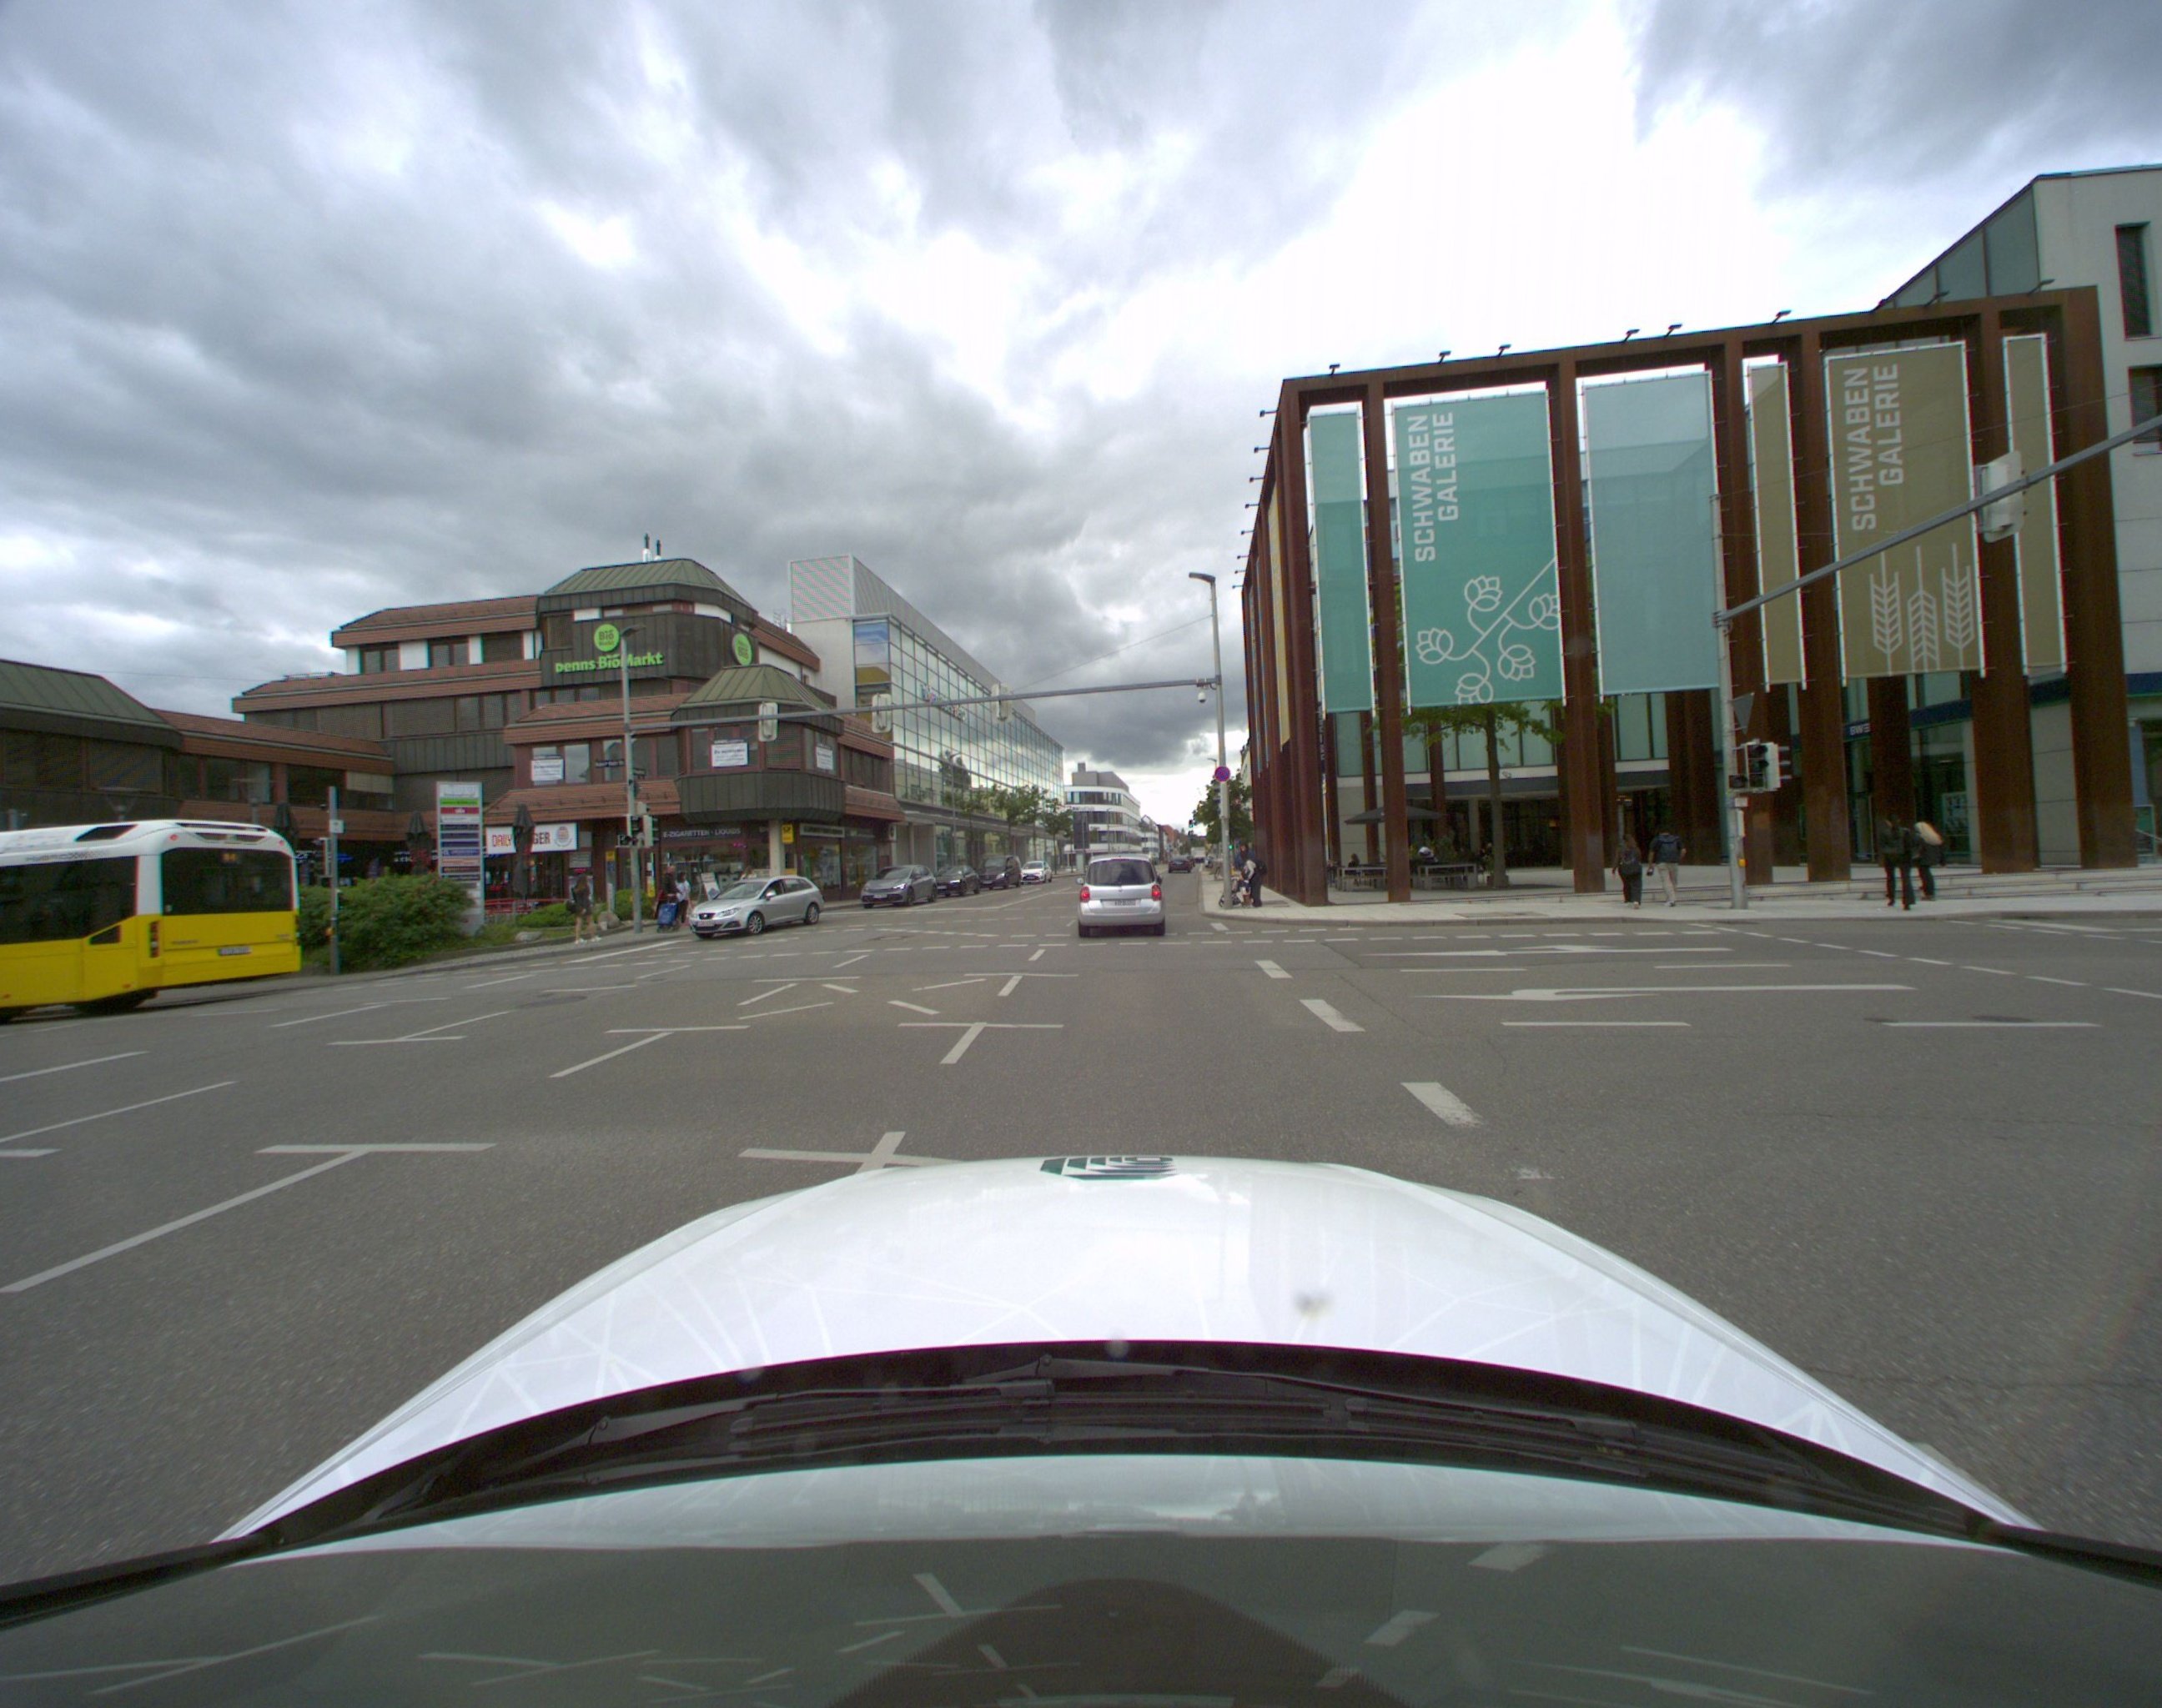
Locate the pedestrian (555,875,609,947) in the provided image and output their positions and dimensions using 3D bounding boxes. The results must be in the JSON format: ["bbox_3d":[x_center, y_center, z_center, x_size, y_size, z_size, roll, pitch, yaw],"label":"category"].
[{"bbox_3d":[-12.469,1.412,20.362,0.693,1.713,0.818,-2,2,30],"label":"pedestrian"}]

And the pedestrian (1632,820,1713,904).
[{"bbox_3d":[12.409,0.166,17.118,0.874,1.681,1.122,-3,-1,5],"label":"pedestrian"}]

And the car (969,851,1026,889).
[{"bbox_3d":[-4.623,0.870,46.077,1.854,1.909,5.126,-4,0,9],"label":"car"}]

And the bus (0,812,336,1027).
[{"bbox_3d":[-21.349,1.505,15.041,12.224,3.327,2.997,-5,-1,0],"label":"bus"}]

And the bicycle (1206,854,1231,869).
[{"bbox_3d":[10.591,0.562,62.750,1.815,1.074,0.754,-4,-1,6],"label":"bicycle"}]

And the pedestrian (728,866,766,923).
[{"bbox_3d":[-10.292,1.231,25.143,0.745,1.693,0.778,-3,0,3],"label":"pedestrian"}]

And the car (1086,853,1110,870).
[{"bbox_3d":[1.675,0.744,78.633,1.650,1.480,4.010,-4,0,9],"label":"car"}]

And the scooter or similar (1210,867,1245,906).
[{"bbox_3d":[3.819,0.847,21.212,0.627,0.961,0.624,-3,-1,42],"label":"scooter or similar"}]

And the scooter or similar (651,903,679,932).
[{"bbox_3d":[-11.290,1.732,22.109,0.452,0.727,0.538,-2,0,0],"label":"scooter or similar"}]

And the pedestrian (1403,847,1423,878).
[{"bbox_3d":[13.375,0.347,32.834,0.512,1.208,0.797,-3,1,6],"label":"pedestrian"}]

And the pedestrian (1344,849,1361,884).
[{"bbox_3d":[9.652,0.441,28.985,0.444,1.220,0.608,-2,-1,12],"label":"pedestrian"}]

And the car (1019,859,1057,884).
[{"bbox_3d":[-2.842,1.153,54.195,1.650,1.465,4.010,-4,0,8],"label":"car"}]

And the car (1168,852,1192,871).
[{"bbox_3d":[8.029,0.584,66.044,1.659,1.554,3.653,-1,0,11],"label":"car"}]

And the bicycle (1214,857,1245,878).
[{"bbox_3d":[7.823,0.700,42.932,1.550,0.992,0.755,-3,0,11],"label":"bicycle"}]

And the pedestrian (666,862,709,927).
[{"bbox_3d":[-11.393,1.159,23.616,0.807,1.808,0.775,-2,0,0],"label":"pedestrian"}]

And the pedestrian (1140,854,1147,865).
[{"bbox_3d":[10.815,0.955,140.973,0.955,1.833,1.253,-3,-1,8],"label":"pedestrian"}]

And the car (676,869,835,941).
[{"bbox_3d":[-8.500,1.281,21.711,1.622,1.418,4.217,-4,1,15],"label":"car"}]

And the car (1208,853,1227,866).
[{"bbox_3d":[14.527,0.562,86.793,1.866,1.335,4.010,-1,0,9],"label":"car"}]

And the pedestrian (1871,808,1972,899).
[{"bbox_3d":[17.306,-0.005,16.799,0.874,1.767,1.122,-3,-1,5],"label":"pedestrian"}]

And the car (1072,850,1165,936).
[{"bbox_3d":[0.867,0.703,16.630,1.661,1.554,3.648,-1,0,6],"label":"car"}]

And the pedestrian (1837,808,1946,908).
[{"bbox_3d":[15.187,0.071,15.296,0.874,1.767,1.122,-3,-1,5],"label":"pedestrian"}]

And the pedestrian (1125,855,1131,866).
[{"bbox_3d":[8.110,1.097,140.430,0.955,1.833,1.253,-3,-1,8],"label":"pedestrian"}]

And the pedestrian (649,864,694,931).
[{"bbox_3d":[-11.434,1.210,22.760,0.807,1.808,0.746,-2,0,0],"label":"pedestrian"}]

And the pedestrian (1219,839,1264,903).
[{"bbox_3d":[4.273,0.448,21.677,0.861,1.646,0.684,-2,0,42],"label":"pedestrian"}]

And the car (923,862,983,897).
[{"bbox_3d":[-5.918,1.162,38.131,1.693,1.443,4.007,-2,0,6],"label":"car"}]

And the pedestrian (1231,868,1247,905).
[{"bbox_3d":[3.990,0.820,20.614,0.359,0.924,0.456,-2,0,10],"label":"pedestrian"}]

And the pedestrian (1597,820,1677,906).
[{"bbox_3d":[11.482,0.180,16.869,0.874,1.681,1.122,-3,-1,5],"label":"pedestrian"}]

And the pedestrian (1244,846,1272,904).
[{"bbox_3d":[4.457,0.510,20.538,0.597,1.420,0.584,-2,0,10],"label":"pedestrian"}]

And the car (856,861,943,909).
[{"bbox_3d":[-6.821,1.130,31.102,1.749,1.517,4.396,-4,0,7],"label":"car"}]

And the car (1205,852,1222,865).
[{"bbox_3d":[15.207,0.489,93.257,1.866,1.508,4.010,-1,0,9],"label":"car"}]
